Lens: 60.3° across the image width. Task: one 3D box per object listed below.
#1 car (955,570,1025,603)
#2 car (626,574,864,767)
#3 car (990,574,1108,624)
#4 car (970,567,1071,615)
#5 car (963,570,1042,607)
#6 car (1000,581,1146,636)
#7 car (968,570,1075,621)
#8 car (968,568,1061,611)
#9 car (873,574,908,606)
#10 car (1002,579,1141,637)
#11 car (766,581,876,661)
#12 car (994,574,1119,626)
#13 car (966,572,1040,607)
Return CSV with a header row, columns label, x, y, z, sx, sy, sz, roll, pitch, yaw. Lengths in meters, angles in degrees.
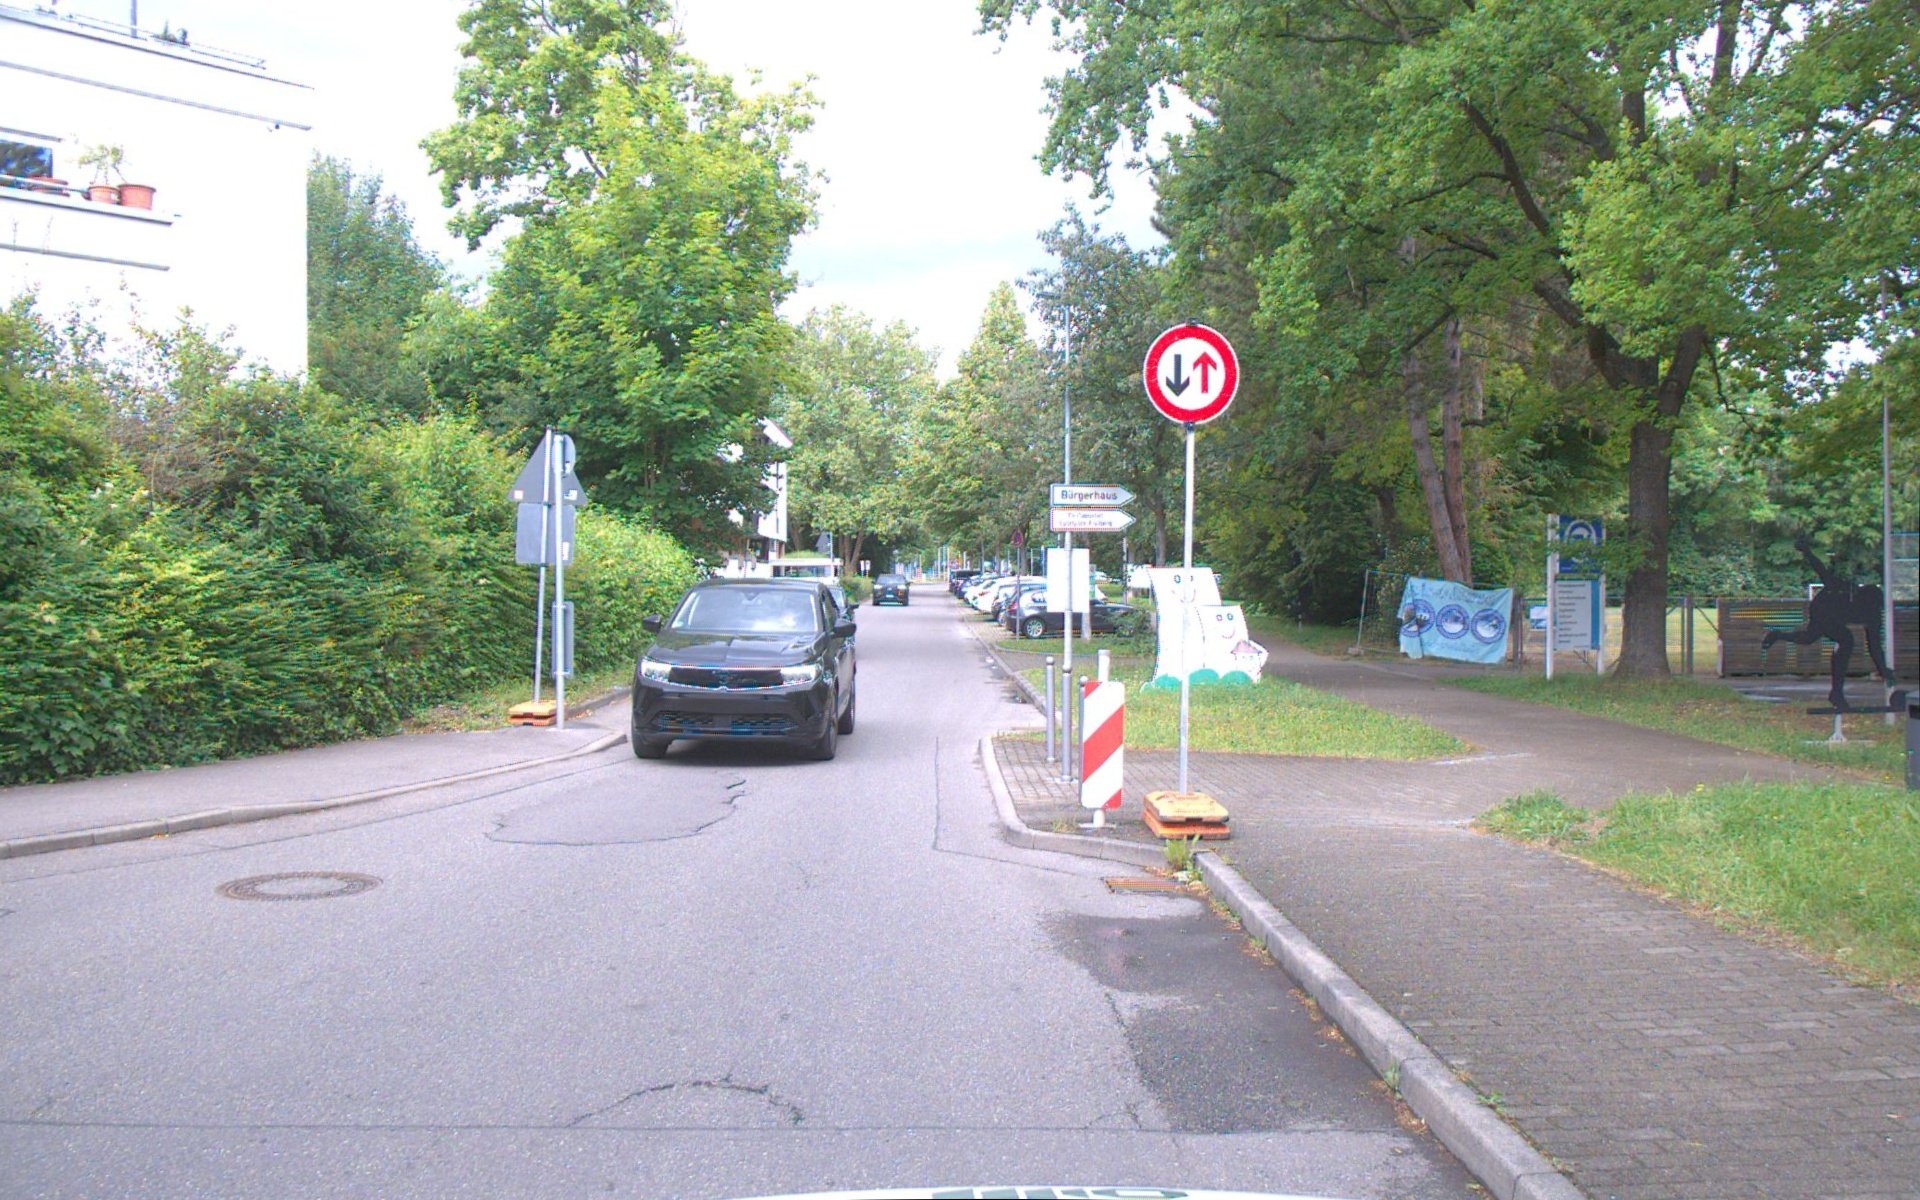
label,x,y,z,sx,sy,sz,roll,pitch,yaw
car,1.815,-0.819,99.585,3.984,1.716,1.821,-4,1,-5
car,-1.934,0.575,16.094,1.766,1.619,4.296,0,1,0
car,3.191,-0.054,59.914,3.984,1.514,1.821,-4,1,-5
car,2.506,-0.383,69.002,3.984,1.716,1.821,-4,1,-5
car,2.275,-0.607,88.605,3.984,1.716,1.821,-4,1,-5
car,3.195,0.256,47.373,3.981,1.459,1.999,-1,-1,-2
car,2.397,-0.181,65.141,3.984,1.716,1.821,-4,1,-5
car,2.472,-0.495,75.644,3.984,1.716,1.821,-4,1,-5
car,-3.895,-0.582,93.170,1.929,1.778,4.337,0,1,-2
car,3.318,0.247,49.639,3.981,1.596,1.821,-1,-1,-2
car,-2.961,0.403,36.106,1.765,1.619,4.298,0,1,3
car,3.180,-0.009,54.951,3.981,1.595,1.822,-1,1,-2
car,2.432,-0.616,94.421,3.984,1.716,1.821,-4,1,-5
